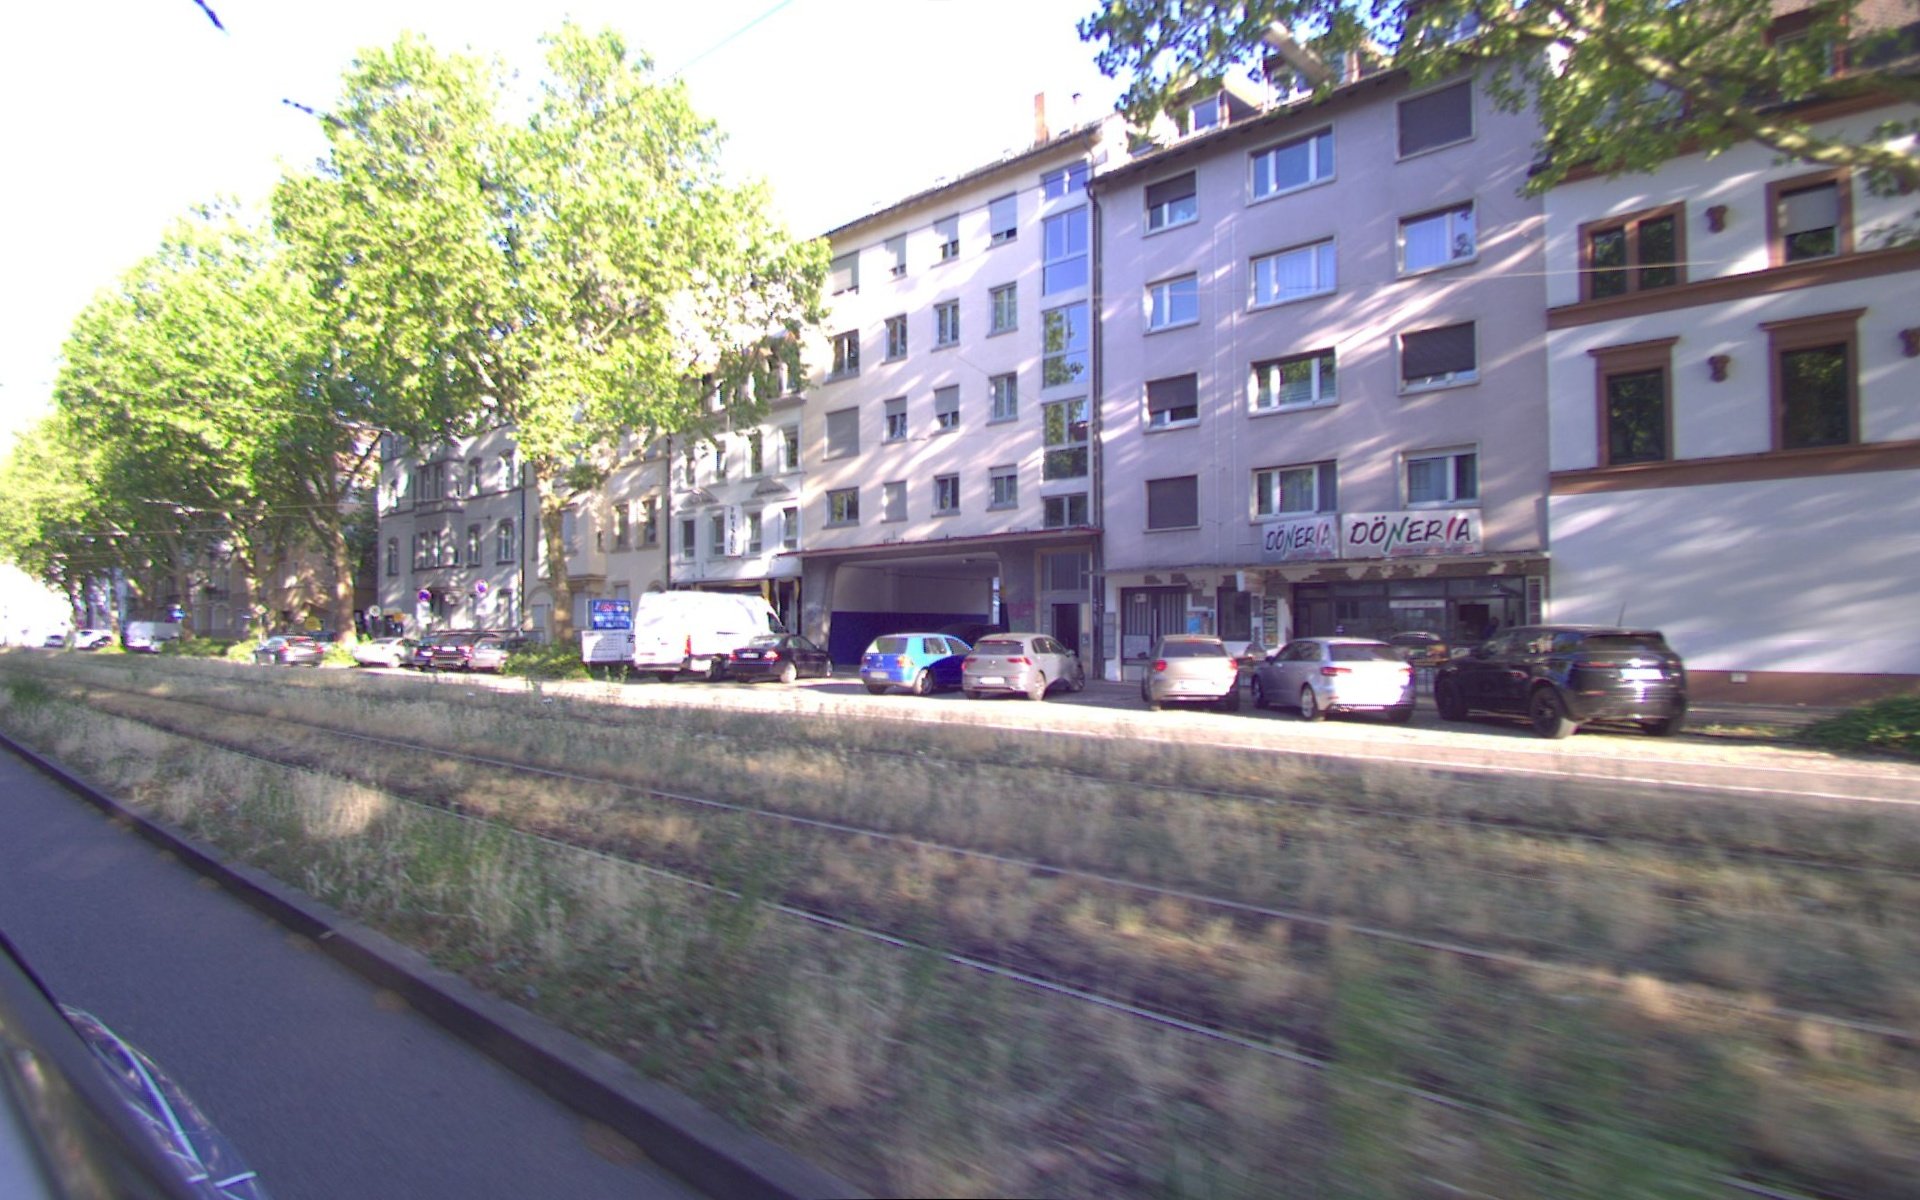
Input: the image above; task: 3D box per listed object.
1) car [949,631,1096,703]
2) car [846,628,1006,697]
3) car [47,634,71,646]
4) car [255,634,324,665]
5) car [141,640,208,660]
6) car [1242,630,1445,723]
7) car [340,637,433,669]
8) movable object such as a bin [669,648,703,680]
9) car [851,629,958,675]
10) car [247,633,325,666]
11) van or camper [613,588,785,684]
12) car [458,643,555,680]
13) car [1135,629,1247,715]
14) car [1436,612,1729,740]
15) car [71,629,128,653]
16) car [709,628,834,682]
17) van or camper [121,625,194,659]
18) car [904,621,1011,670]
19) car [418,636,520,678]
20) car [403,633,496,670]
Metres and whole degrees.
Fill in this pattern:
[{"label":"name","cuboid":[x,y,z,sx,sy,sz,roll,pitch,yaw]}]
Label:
[{"label":"car","cuboid":[1.516,1.472,23.164,1.941,1.503,3.962,-1,-3,27]},{"label":"car","cuboid":[-0.753,1.468,24.903,1.855,1.431,3.950,-2,0,37]},{"label":"car","cuboid":[-114.956,5.136,129.085,4.000,1.431,1.972,-2,0,43]},{"label":"car","cuboid":[-38.069,2.834,57.561,1.703,1.666,4.007,-1,-3,-9]},{"label":"car","cuboid":[-60.019,3.820,77.438,1.710,1.256,3.992,-1,1,7]},{"label":"car","cuboid":[6.732,1.285,18.275,1.884,1.396,4.003,-1,-1,-4]},{"label":"car","cuboid":[-26.291,2.392,46.539,1.806,1.400,3.669,-1,-2,10]},{"label":"movable object such as a bin","cuboid":[-9.222,2.145,34.066,0.865,1.030,0.734,-1,-3,29]},{"label":"car","cuboid":[-2.110,1.967,39.218,1.998,1.553,3.947,-2,0,39]},{"label":"car","cuboid":[-31.061,2.268,46.613,4.481,1.400,1.801,-2,-5,41]},{"label":"van or camper","cuboid":[-7.866,1.107,31.258,2.163,2.666,5.927,-1,-2,20]},{"label":"car","cuboid":[-17.619,2.379,39.489,1.779,1.368,4.001,0,-3,4]},{"label":"car","cuboid":[4.532,1.362,20.344,1.735,1.433,3.991,-1,0,7]},{"label":"car","cuboid":[9.311,1.074,15.616,1.972,1.673,3.999,-1,-2,0]},{"label":"car","cuboid":[-80.943,3.826,95.262,1.971,2.029,4.001,-1,0,-1]},{"label":"car","cuboid":[-5.516,1.623,30.105,1.985,1.502,3.974,-1,-3,19]},{"label":"van or camper","cuboid":[-62.309,3.231,78.683,2.171,2.418,4.362,-1,1,1]},{"label":"car","cuboid":[-0.033,1.674,37.522,1.904,1.733,3.946,-2,-3,40]},{"label":"car","cuboid":[-20.113,2.376,41.632,1.912,1.605,4.154,0,-4,5]},{"label":"car","cuboid":[-22.268,2.283,44.315,1.803,1.545,3.993,0,-4,5]}]
